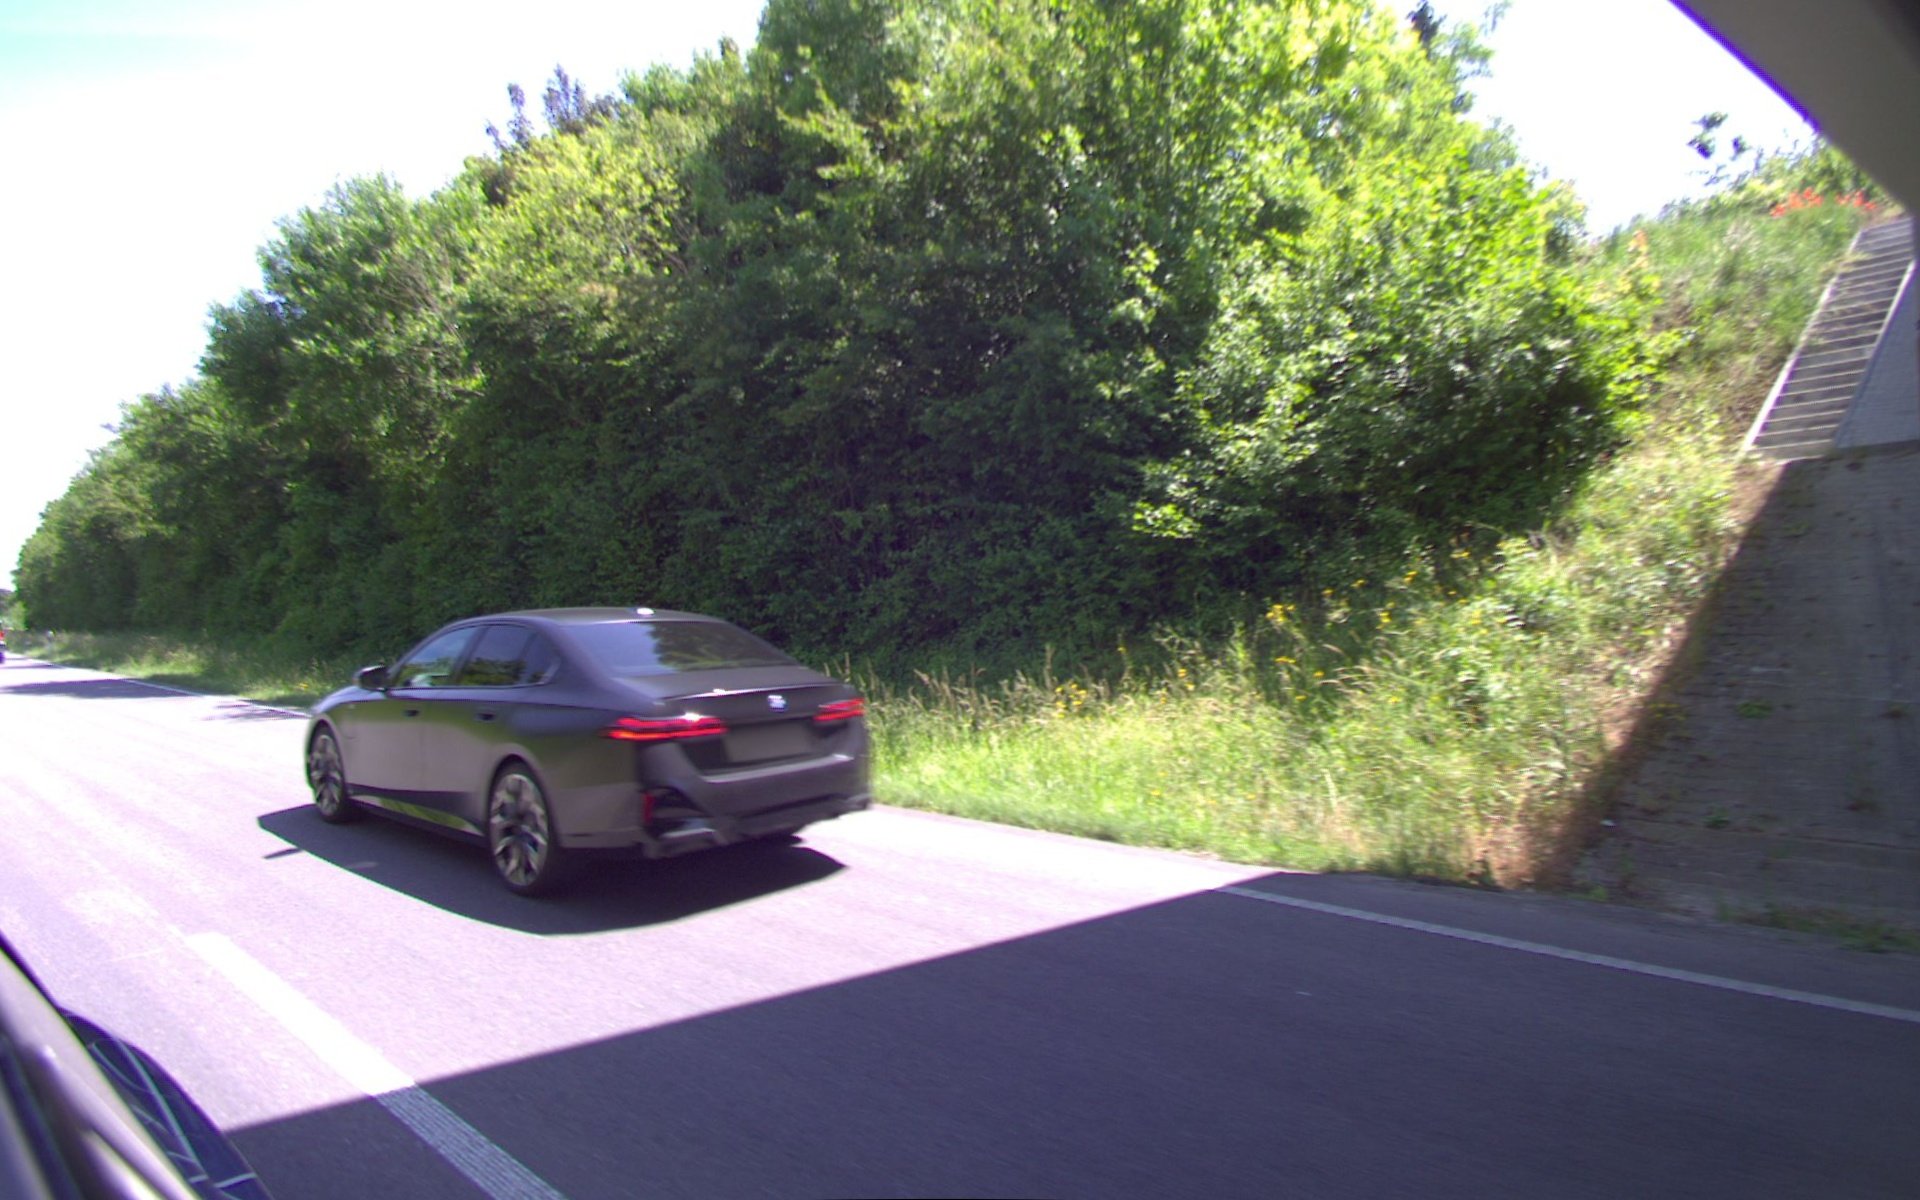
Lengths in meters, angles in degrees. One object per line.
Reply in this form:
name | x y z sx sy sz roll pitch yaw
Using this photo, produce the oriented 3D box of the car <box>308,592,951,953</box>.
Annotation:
car | -2.374 0.764 6.473 4.584 1.517 1.840 -1 -1 41
